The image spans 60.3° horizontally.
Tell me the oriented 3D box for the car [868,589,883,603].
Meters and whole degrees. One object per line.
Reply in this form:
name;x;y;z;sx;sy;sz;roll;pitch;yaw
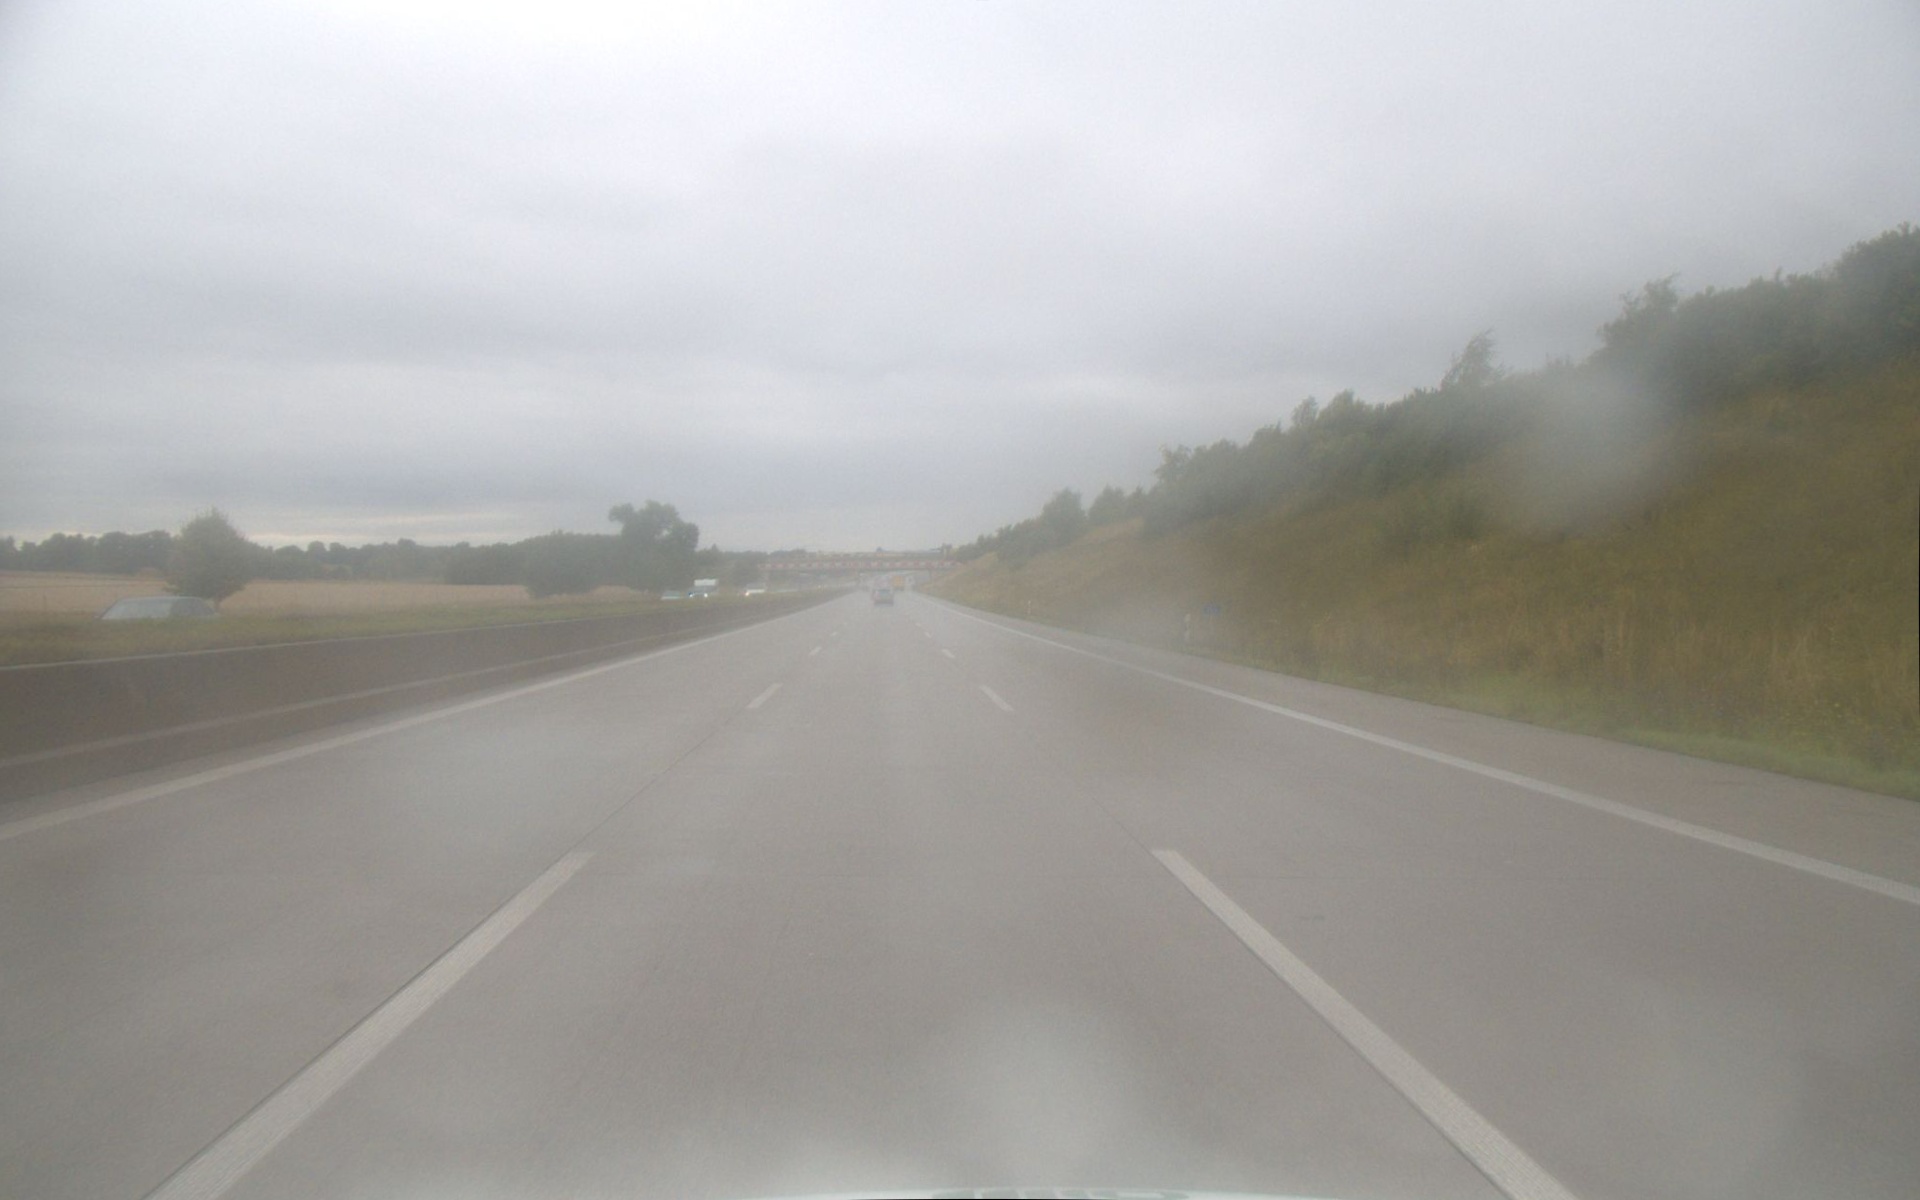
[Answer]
car;-9.590;-0.461;188.644;1.695;1.354;4.428;1;2;-3

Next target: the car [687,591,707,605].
car;-27.469;-0.170;172.646;1.639;1.422;4.063;1;0;-4

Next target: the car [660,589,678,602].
car;-34.457;-0.532;195.613;1.639;1.422;4.063;1;0;-4

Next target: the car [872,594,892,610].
car;-7.227;0.178;153.031;1.811;1.354;4.427;1;2;-4
